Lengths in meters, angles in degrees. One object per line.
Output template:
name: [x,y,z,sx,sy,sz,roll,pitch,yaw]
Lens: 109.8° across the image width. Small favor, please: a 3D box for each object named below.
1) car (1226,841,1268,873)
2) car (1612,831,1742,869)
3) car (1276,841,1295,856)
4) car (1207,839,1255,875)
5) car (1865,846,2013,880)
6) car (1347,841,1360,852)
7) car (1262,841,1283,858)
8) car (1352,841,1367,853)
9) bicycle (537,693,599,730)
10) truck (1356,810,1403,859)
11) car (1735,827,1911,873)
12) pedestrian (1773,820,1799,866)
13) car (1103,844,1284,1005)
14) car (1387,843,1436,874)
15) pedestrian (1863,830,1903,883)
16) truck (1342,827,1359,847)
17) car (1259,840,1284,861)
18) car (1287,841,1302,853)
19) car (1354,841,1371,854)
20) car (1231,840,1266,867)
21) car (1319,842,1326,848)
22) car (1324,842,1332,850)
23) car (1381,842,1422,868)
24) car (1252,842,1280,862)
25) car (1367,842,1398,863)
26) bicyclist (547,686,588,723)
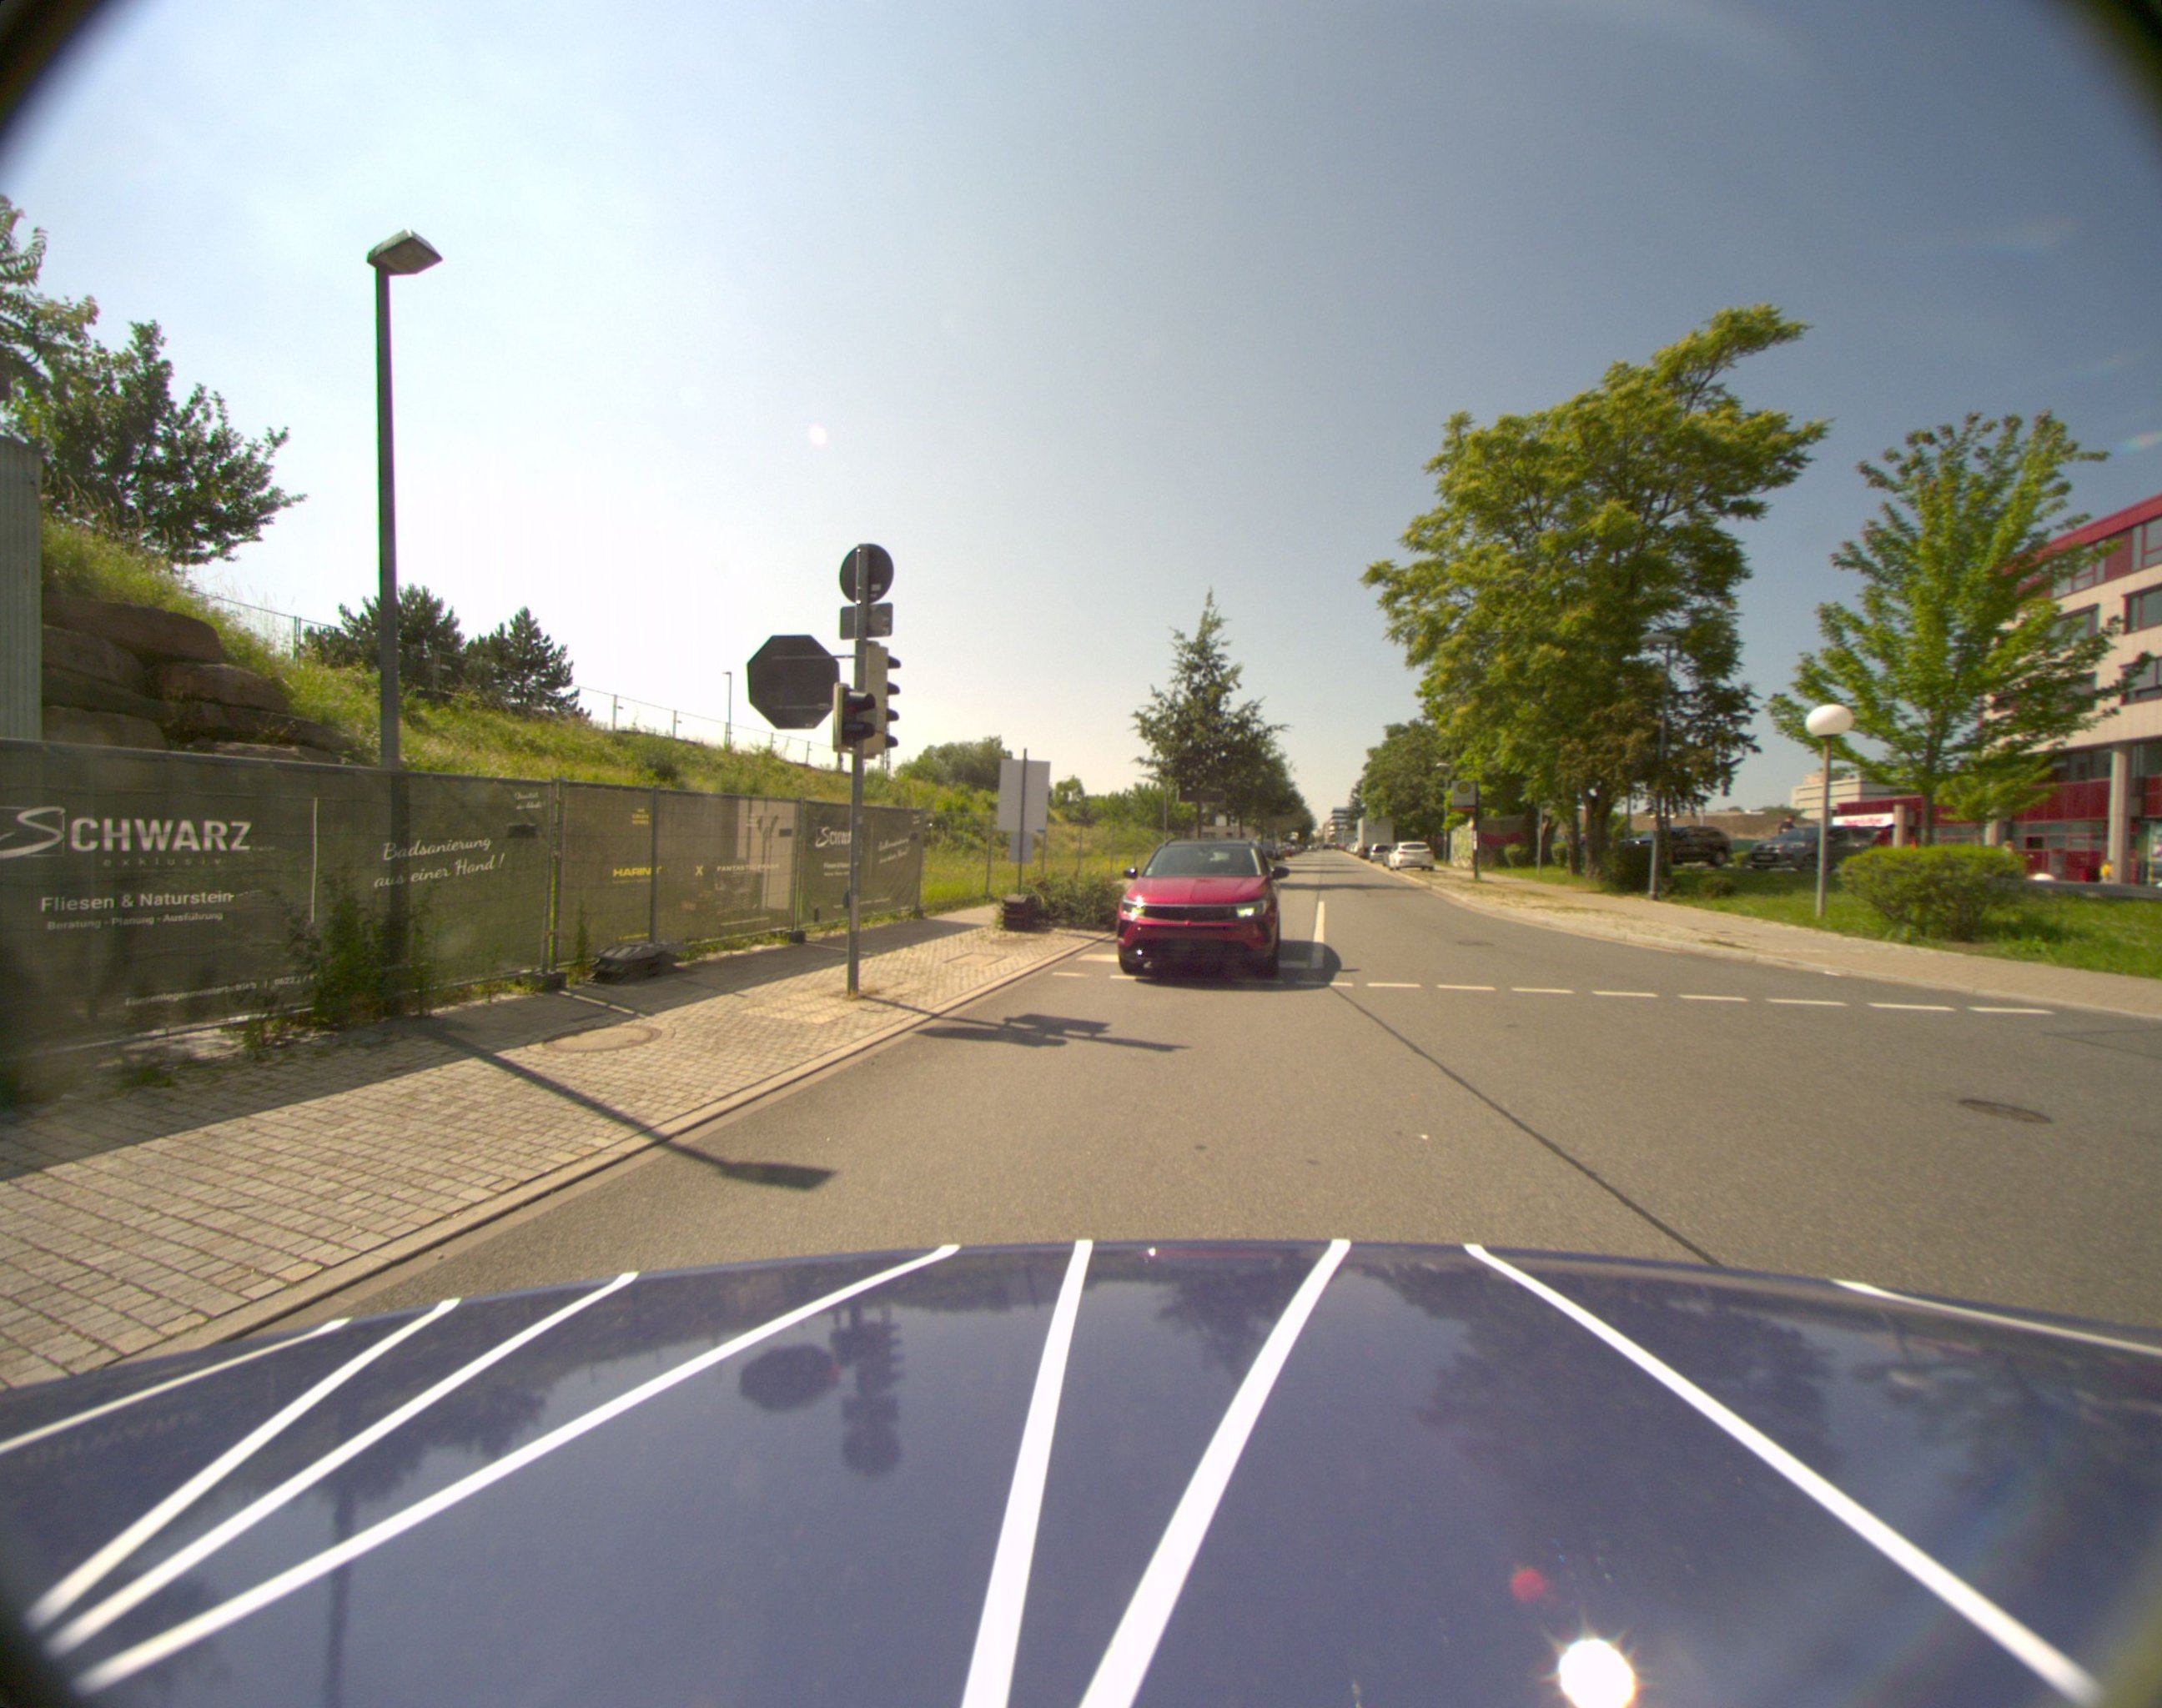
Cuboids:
car: [9.274,0.122,42.217,1.844,1.607,4.005,3,1,17]
car: [25.199,-0.184,32.157,4.819,1.484,1.850,-1,1,-16]
car: [22.771,-0.645,84.451,1.844,1.607,4.005,2,1,17]
car: [7.603,0.132,38.171,1.844,1.607,4.375,4,2,17]
car: [39.278,0.359,34.900,1.725,1.443,4.229,0,1,-30]
car: [41.281,-1.139,115.117,1.812,1.506,4.005,-1,1,19]
car: [19.221,-0.473,76.132,1.845,1.606,4.005,-2,0,17]
car: [37.768,-0.964,103.058,1.812,1.506,4.005,-1,1,19]
bicycle: [-22.036,-6.122,32.706,0.936,1.206,2.175,-1,2,8]
truck: [26.962,-1.667,69.074,3.349,4.119,9.289,-1,1,18]
car: [23.136,-0.129,23.777,3.988,1.330,1.717,-1,1,-4]
pedestrian: [23.463,-0.367,25.293,0.563,1.518,0.758,1,2,39]
car: [1.674,0.682,9.811,1.819,1.594,4.312,0,1,15]
car: [16.770,0.204,38.713,1.763,1.484,4.004,-1,1,16]
pedestrian: [23.559,0.066,22.336,0.563,1.518,0.758,1,1,26]
truck: [46.109,-2.883,129.961,2.698,3.301,7.353,1,1,20]
car: [16.310,-0.304,64.905,1.844,1.607,4.005,3,1,17]
car: [30.999,-1.031,110.210,1.844,1.607,4.005,2,1,17]
car: [34.319,-0.789,92.546,1.812,1.506,4.005,-1,1,19]
car: [10.960,-0.066,49.530,1.844,1.607,4.005,3,1,17]
car: [71.882,-2.631,225.878,1.762,1.783,4.005,1,1,20]
car: [57.785,-1.845,177.549,1.788,1.783,4.005,1,1,19]
car: [19.230,0.028,45.704,1.812,1.506,4.004,-1,1,16]
car: [14.339,-0.181,58.886,1.866,1.533,4.005,1,1,17]
car: [22.579,-0.118,56.997,1.812,1.506,4.004,-1,1,16]
bicyclist: [-22.041,-6.409,32.650,0.952,1.380,1.063,-1,2,8]
